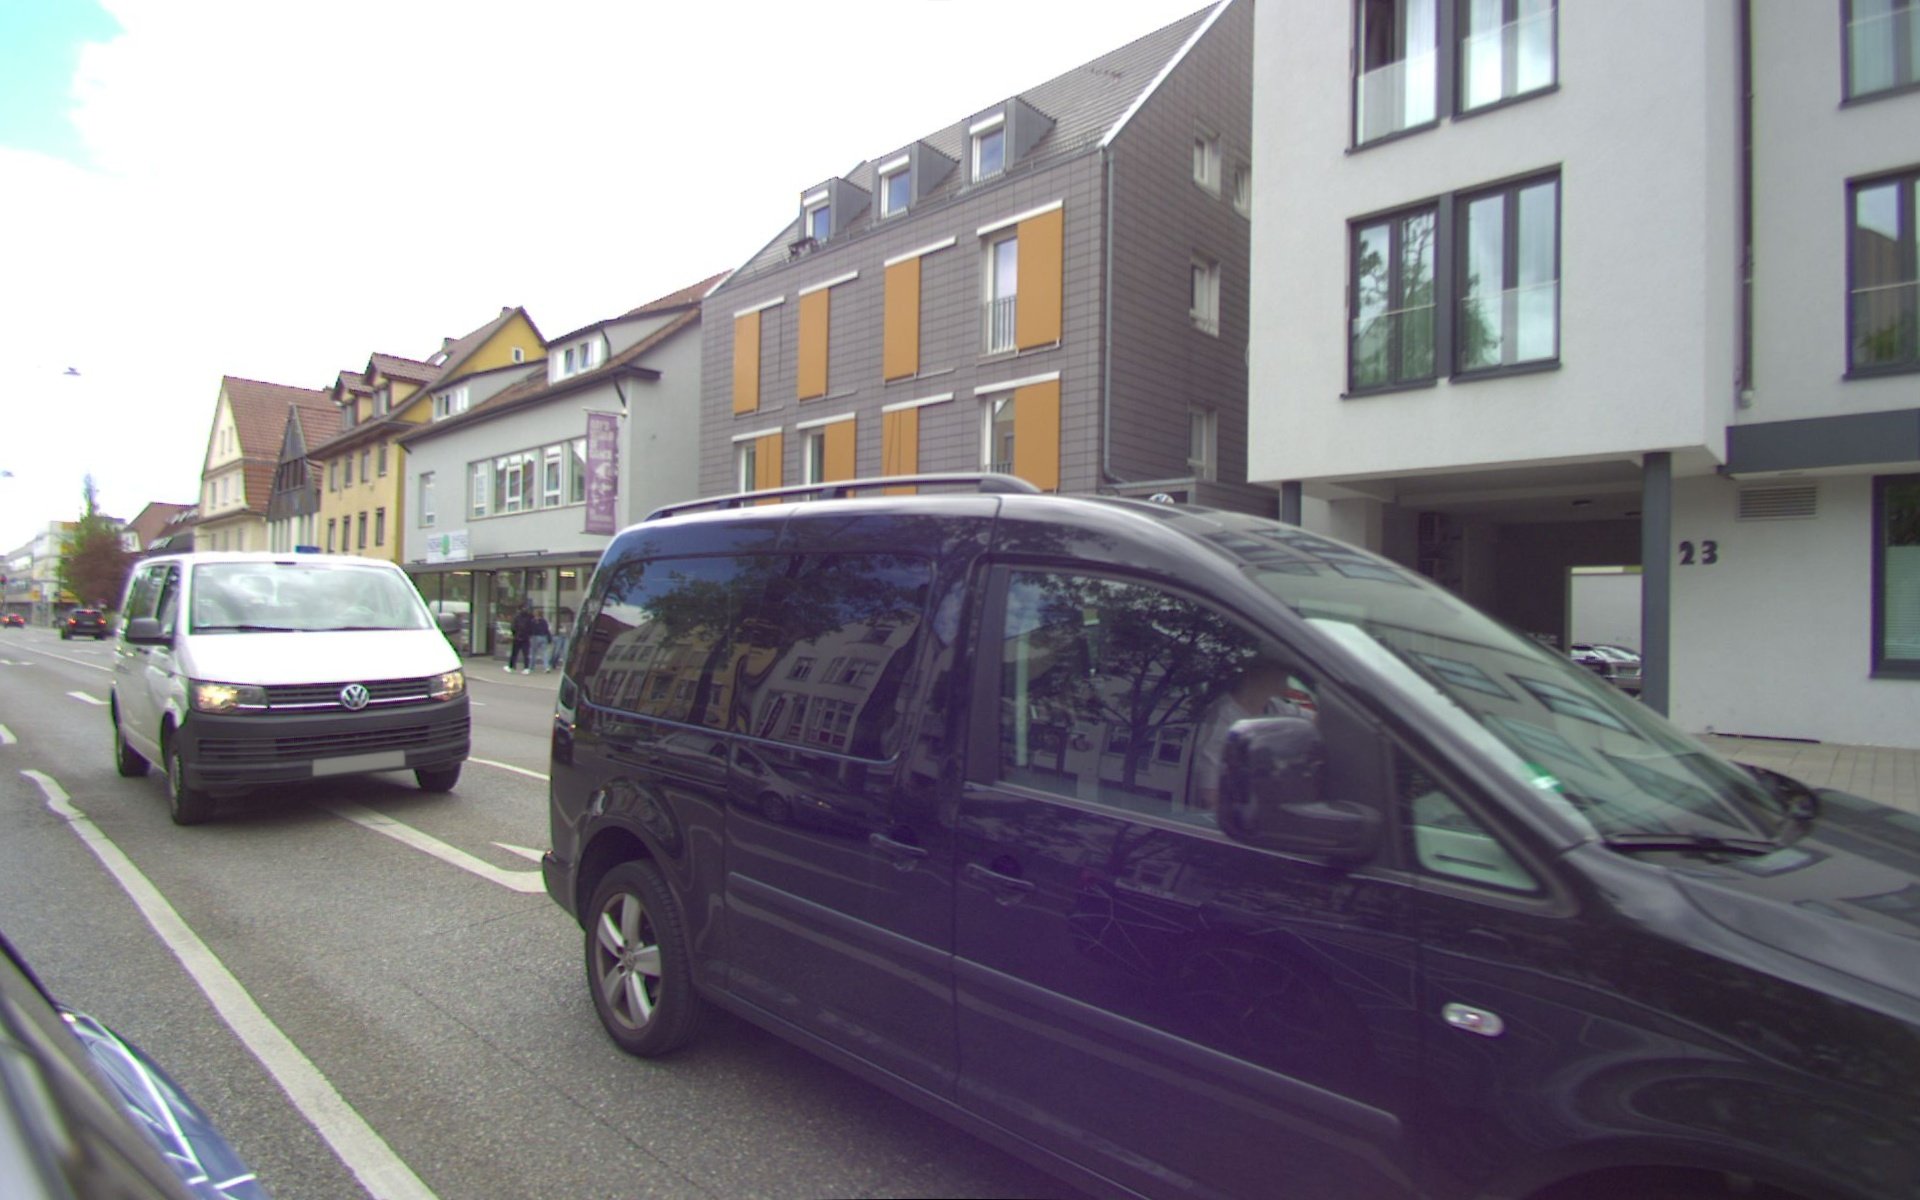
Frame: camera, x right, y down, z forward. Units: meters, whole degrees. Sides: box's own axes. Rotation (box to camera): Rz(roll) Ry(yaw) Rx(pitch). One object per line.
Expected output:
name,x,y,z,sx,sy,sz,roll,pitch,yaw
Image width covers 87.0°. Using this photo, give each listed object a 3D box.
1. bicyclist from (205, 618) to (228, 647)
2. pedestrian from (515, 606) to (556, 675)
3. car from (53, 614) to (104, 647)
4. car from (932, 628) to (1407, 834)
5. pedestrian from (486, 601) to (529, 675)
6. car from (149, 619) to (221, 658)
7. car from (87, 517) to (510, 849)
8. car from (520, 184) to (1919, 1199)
bicyclist,-37.698,1.650,51.317,0.752,1.434,0.763,-1,-2,43
pedestrian,-11.221,1.063,26.761,0.699,1.795,0.870,2,-2,-45
car,-55.568,1.936,63.775,4.770,1.984,1.902,-1,-3,43
car,1.788,1.018,9.467,4.001,1.497,1.848,-2,-2,44
pedestrian,-11.700,0.975,26.170,0.699,1.853,1.028,2,-2,-45
car,-31.231,1.522,40.751,4.037,1.459,1.739,-1,-2,44
car,-5.819,0.536,8.589,4.841,2.029,1.971,-1,0,44
car,0.623,0.444,2.809,4.571,1.834,1.689,-1,0,43
